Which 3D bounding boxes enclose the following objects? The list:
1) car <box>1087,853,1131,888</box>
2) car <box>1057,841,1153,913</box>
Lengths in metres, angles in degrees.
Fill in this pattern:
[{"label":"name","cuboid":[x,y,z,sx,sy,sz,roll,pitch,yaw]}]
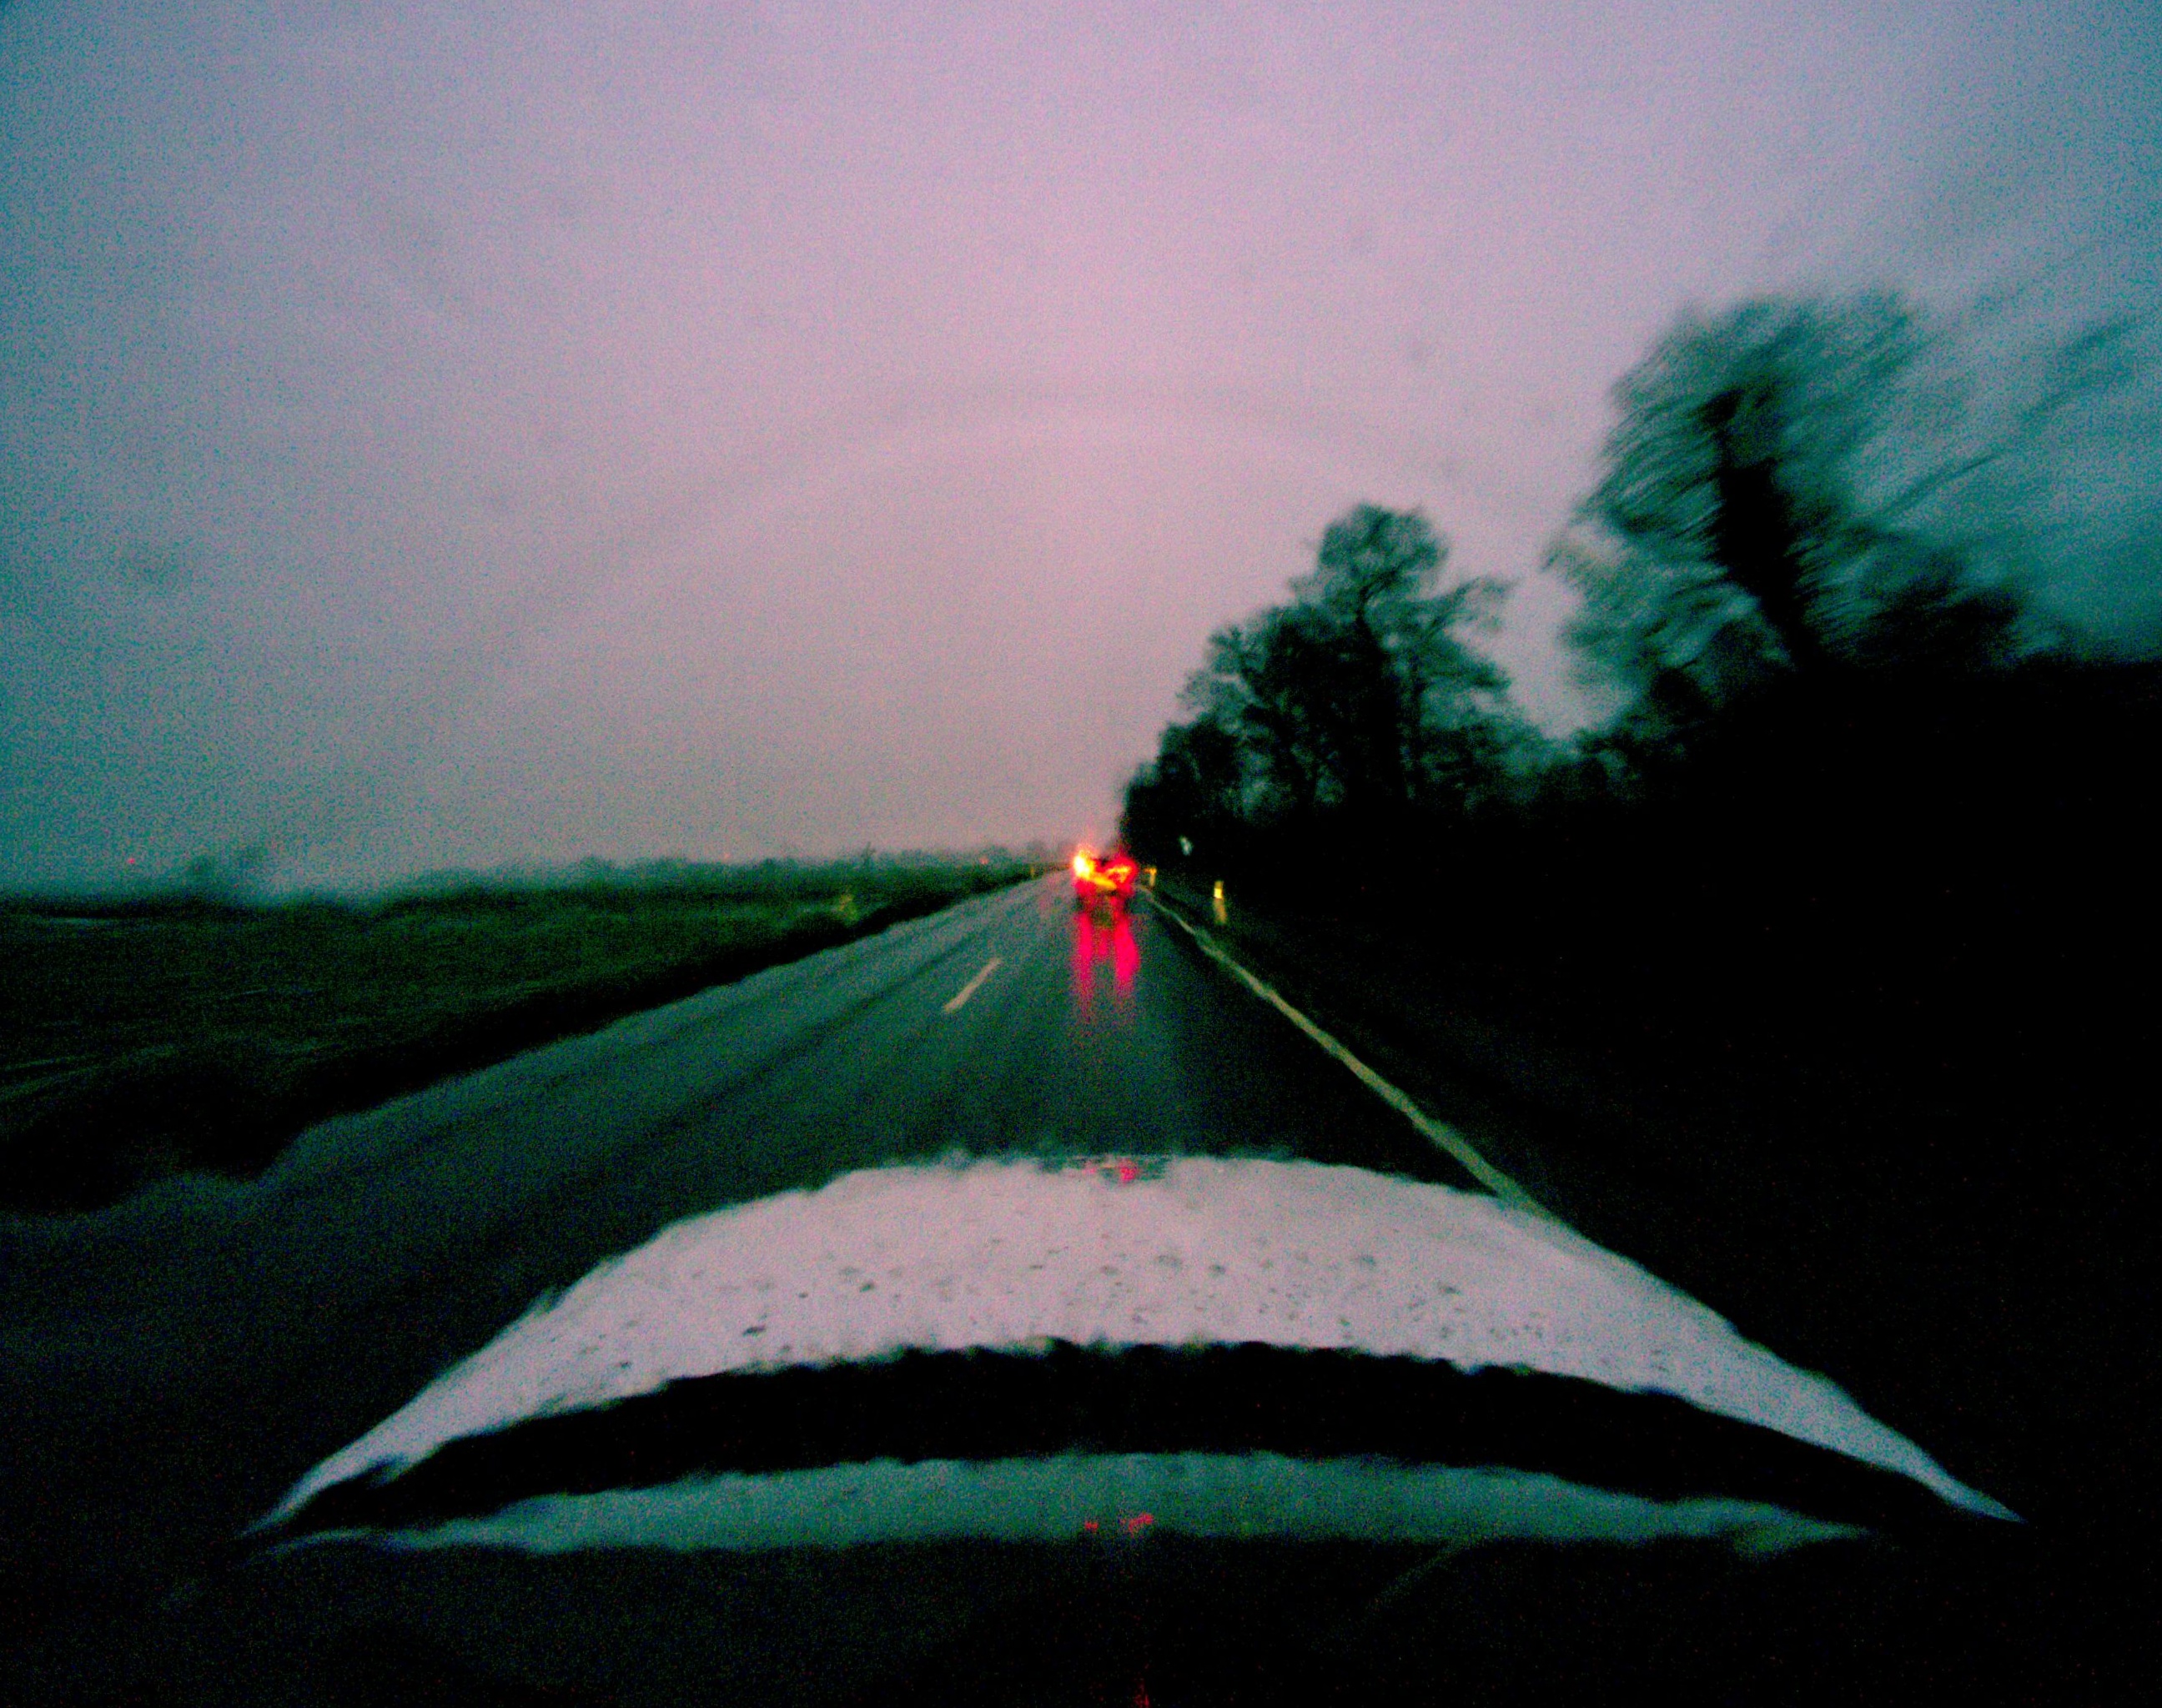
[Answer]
[{"label":"car","cuboid":[1.743,0.993,50.816,2.582,2.014,5.806,-1,-1,2]},{"label":"car","cuboid":[0.799,0.711,26.933,2.810,2.077,5.806,-1,-1,2]}]
